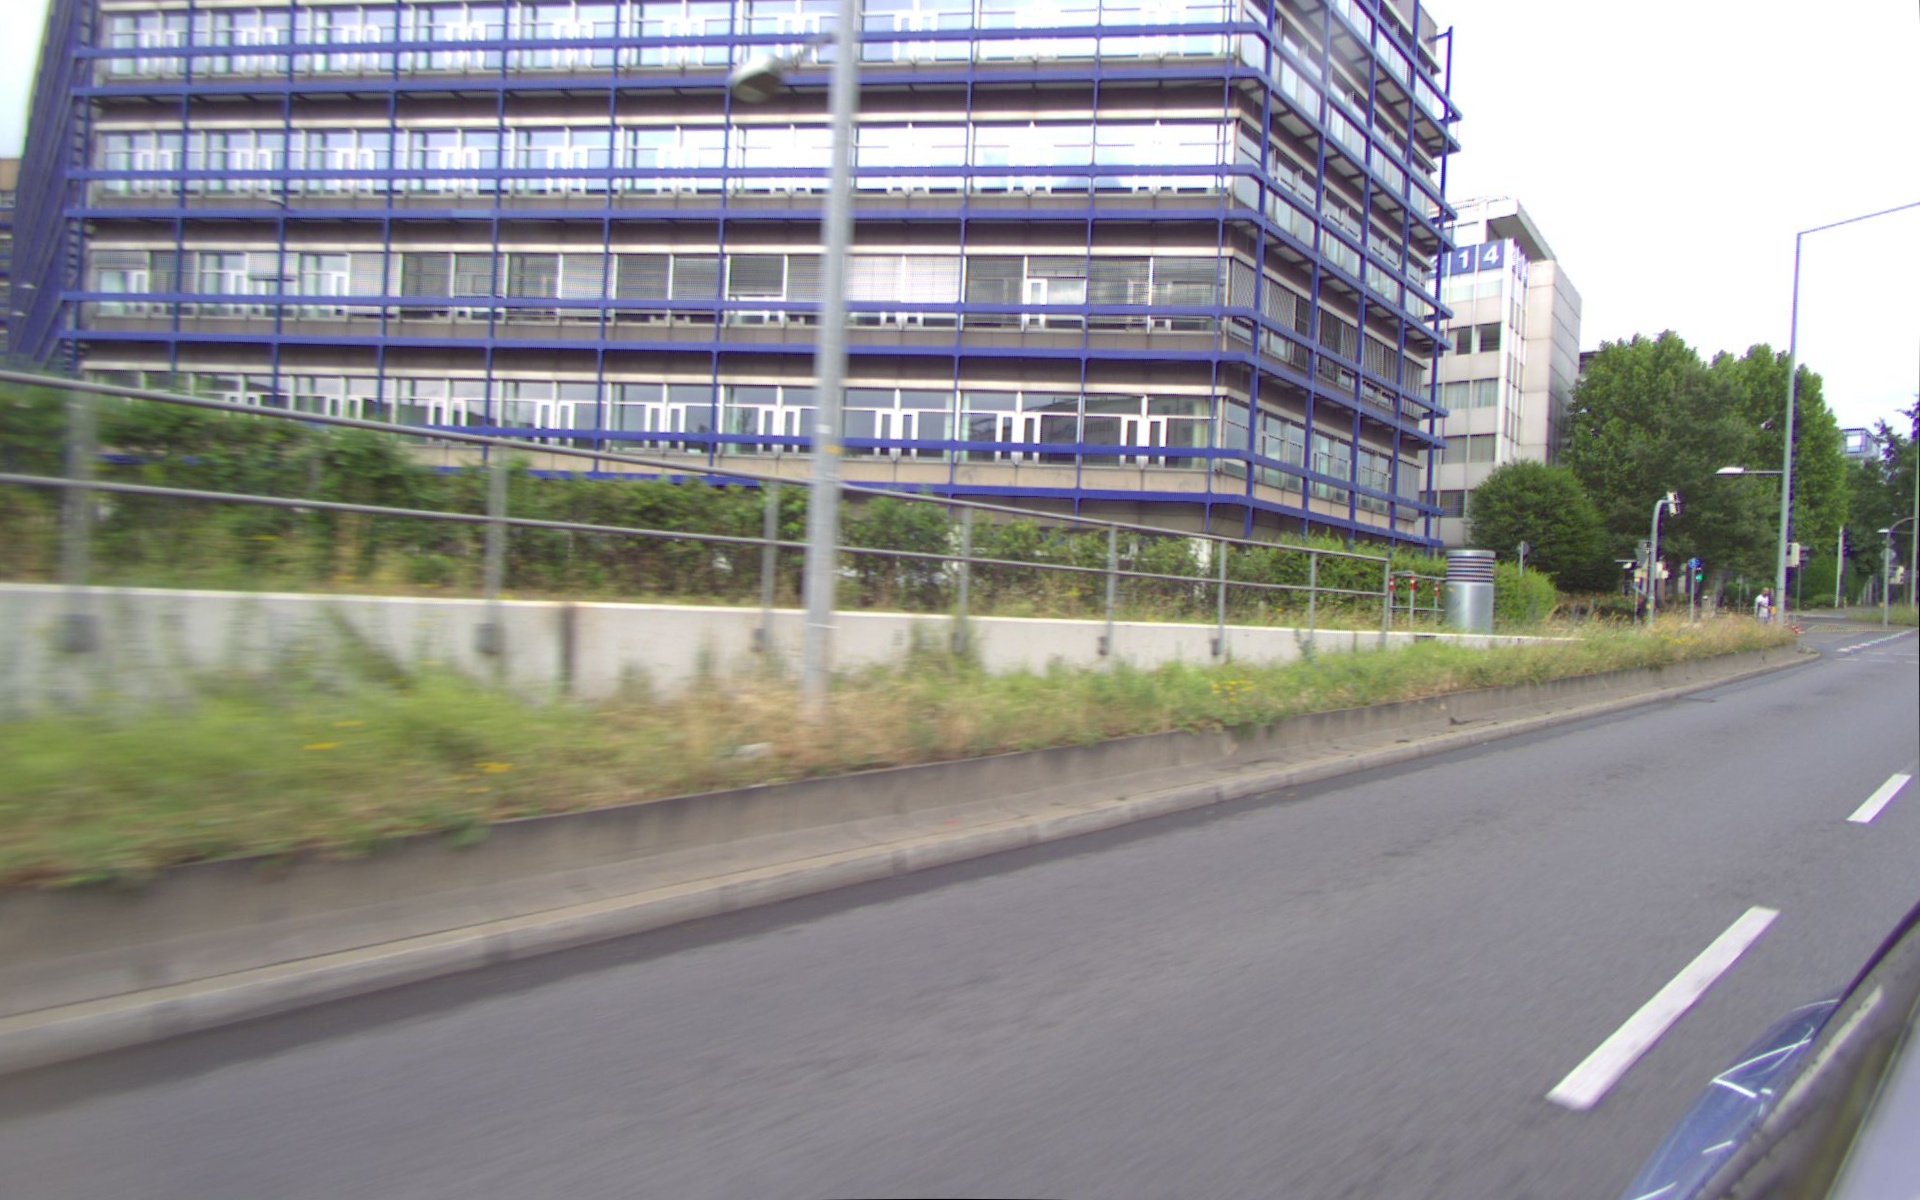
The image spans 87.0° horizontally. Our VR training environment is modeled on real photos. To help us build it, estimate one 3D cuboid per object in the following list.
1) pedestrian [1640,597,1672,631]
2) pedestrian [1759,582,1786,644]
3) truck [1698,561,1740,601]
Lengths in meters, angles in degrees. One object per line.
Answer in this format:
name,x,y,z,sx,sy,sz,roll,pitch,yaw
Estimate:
pedestrian,32.591,0.642,47.388,0.784,1.560,0.905,1,1,-3
pedestrian,22.558,0.351,28.106,0.553,1.673,0.821,1,1,38
truck,50.271,-1.276,66.999,1.746,2.549,3.937,0,1,44
